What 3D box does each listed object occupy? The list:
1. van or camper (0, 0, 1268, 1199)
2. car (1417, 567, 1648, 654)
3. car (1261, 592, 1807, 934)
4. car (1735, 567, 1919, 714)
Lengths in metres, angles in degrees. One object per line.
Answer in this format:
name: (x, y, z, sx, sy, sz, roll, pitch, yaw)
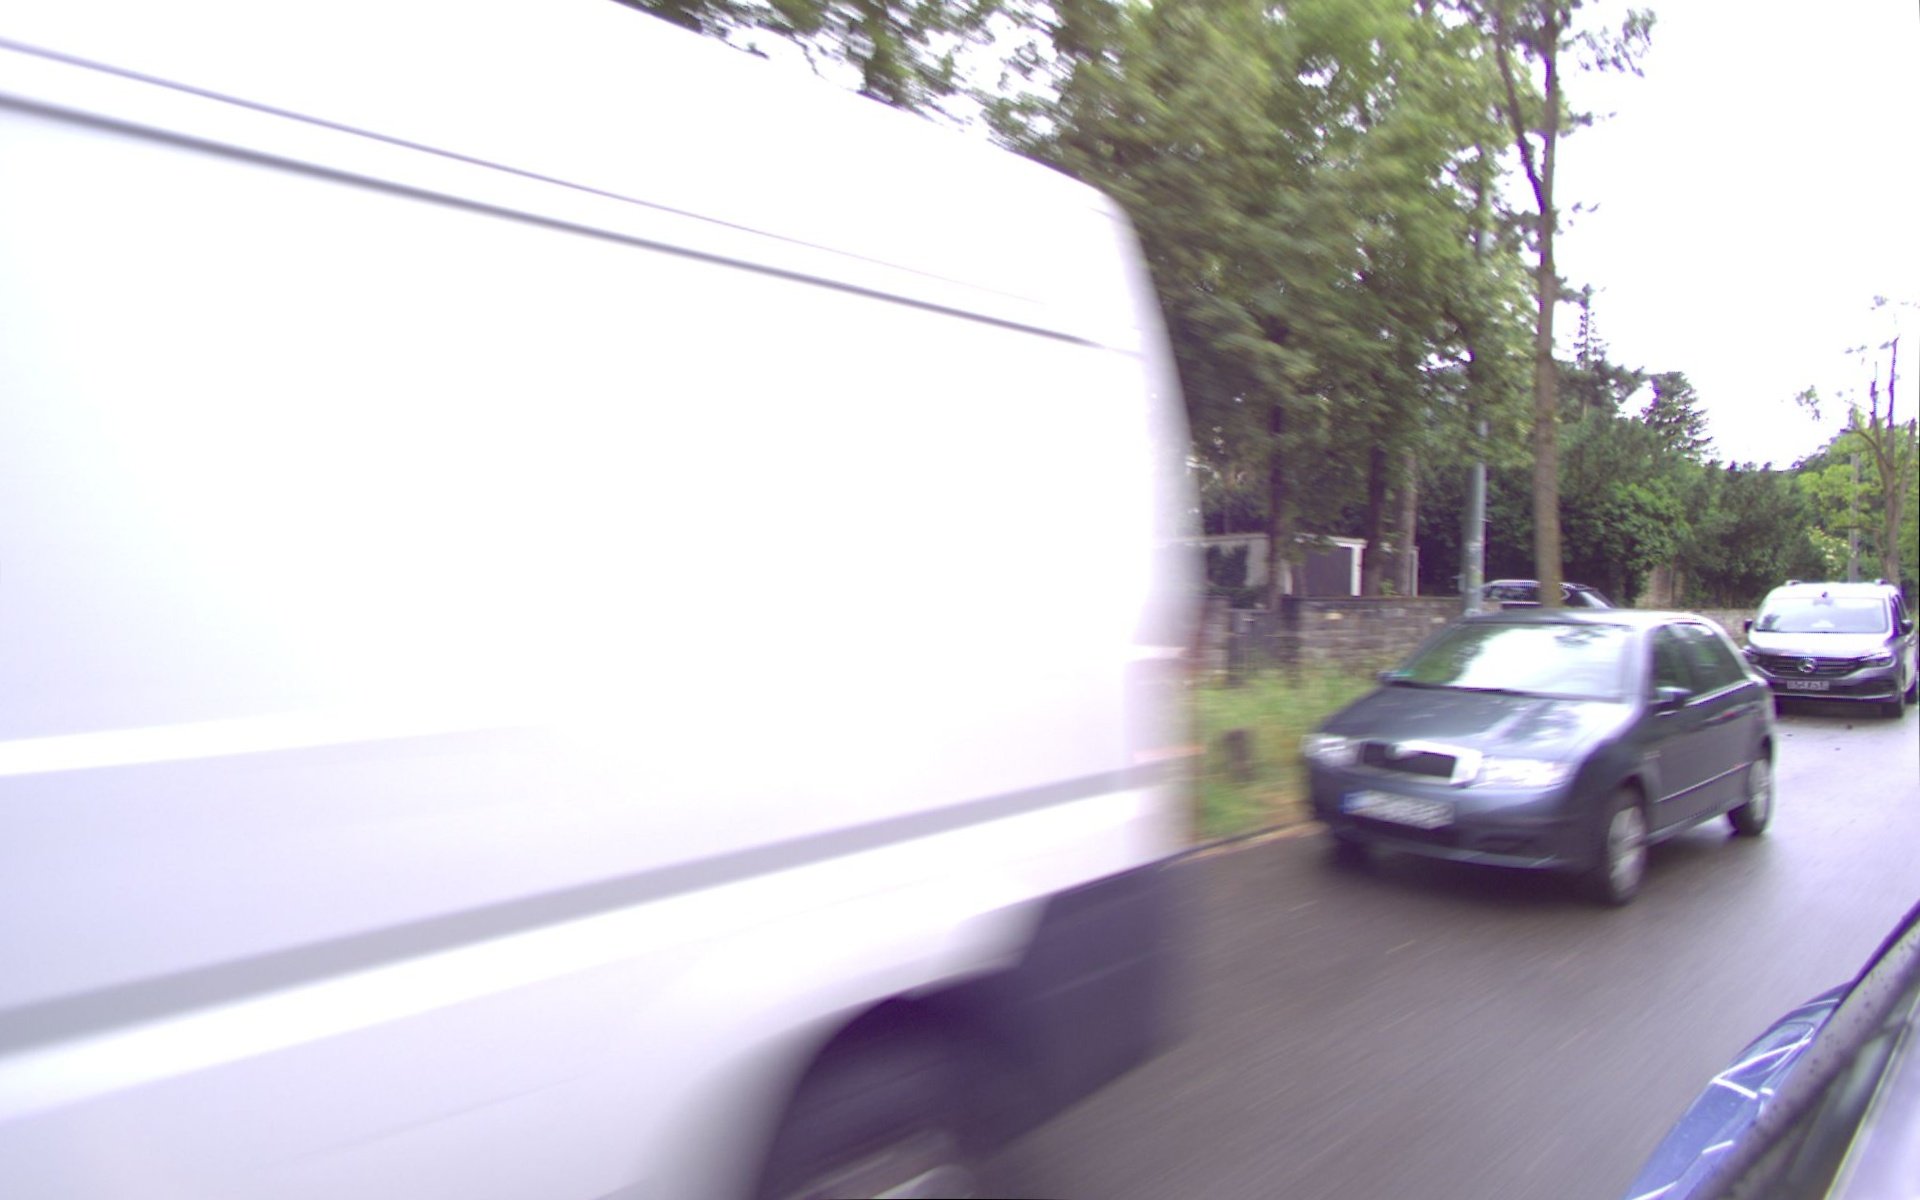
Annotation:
van or camper: (-1.914, 0.143, 1.447, 5.252, 2.684, 2.081, 1, -1, -41)
car: (13.520, 0.166, 24.097, 1.965, 1.702, 4.320, -1, 4, -40)
car: (3.660, 0.733, 6.213, 3.738, 1.483, 1.630, 1, -1, -38)
car: (12.883, 0.536, 14.773, 4.210, 1.836, 1.816, 1, -1, -43)
